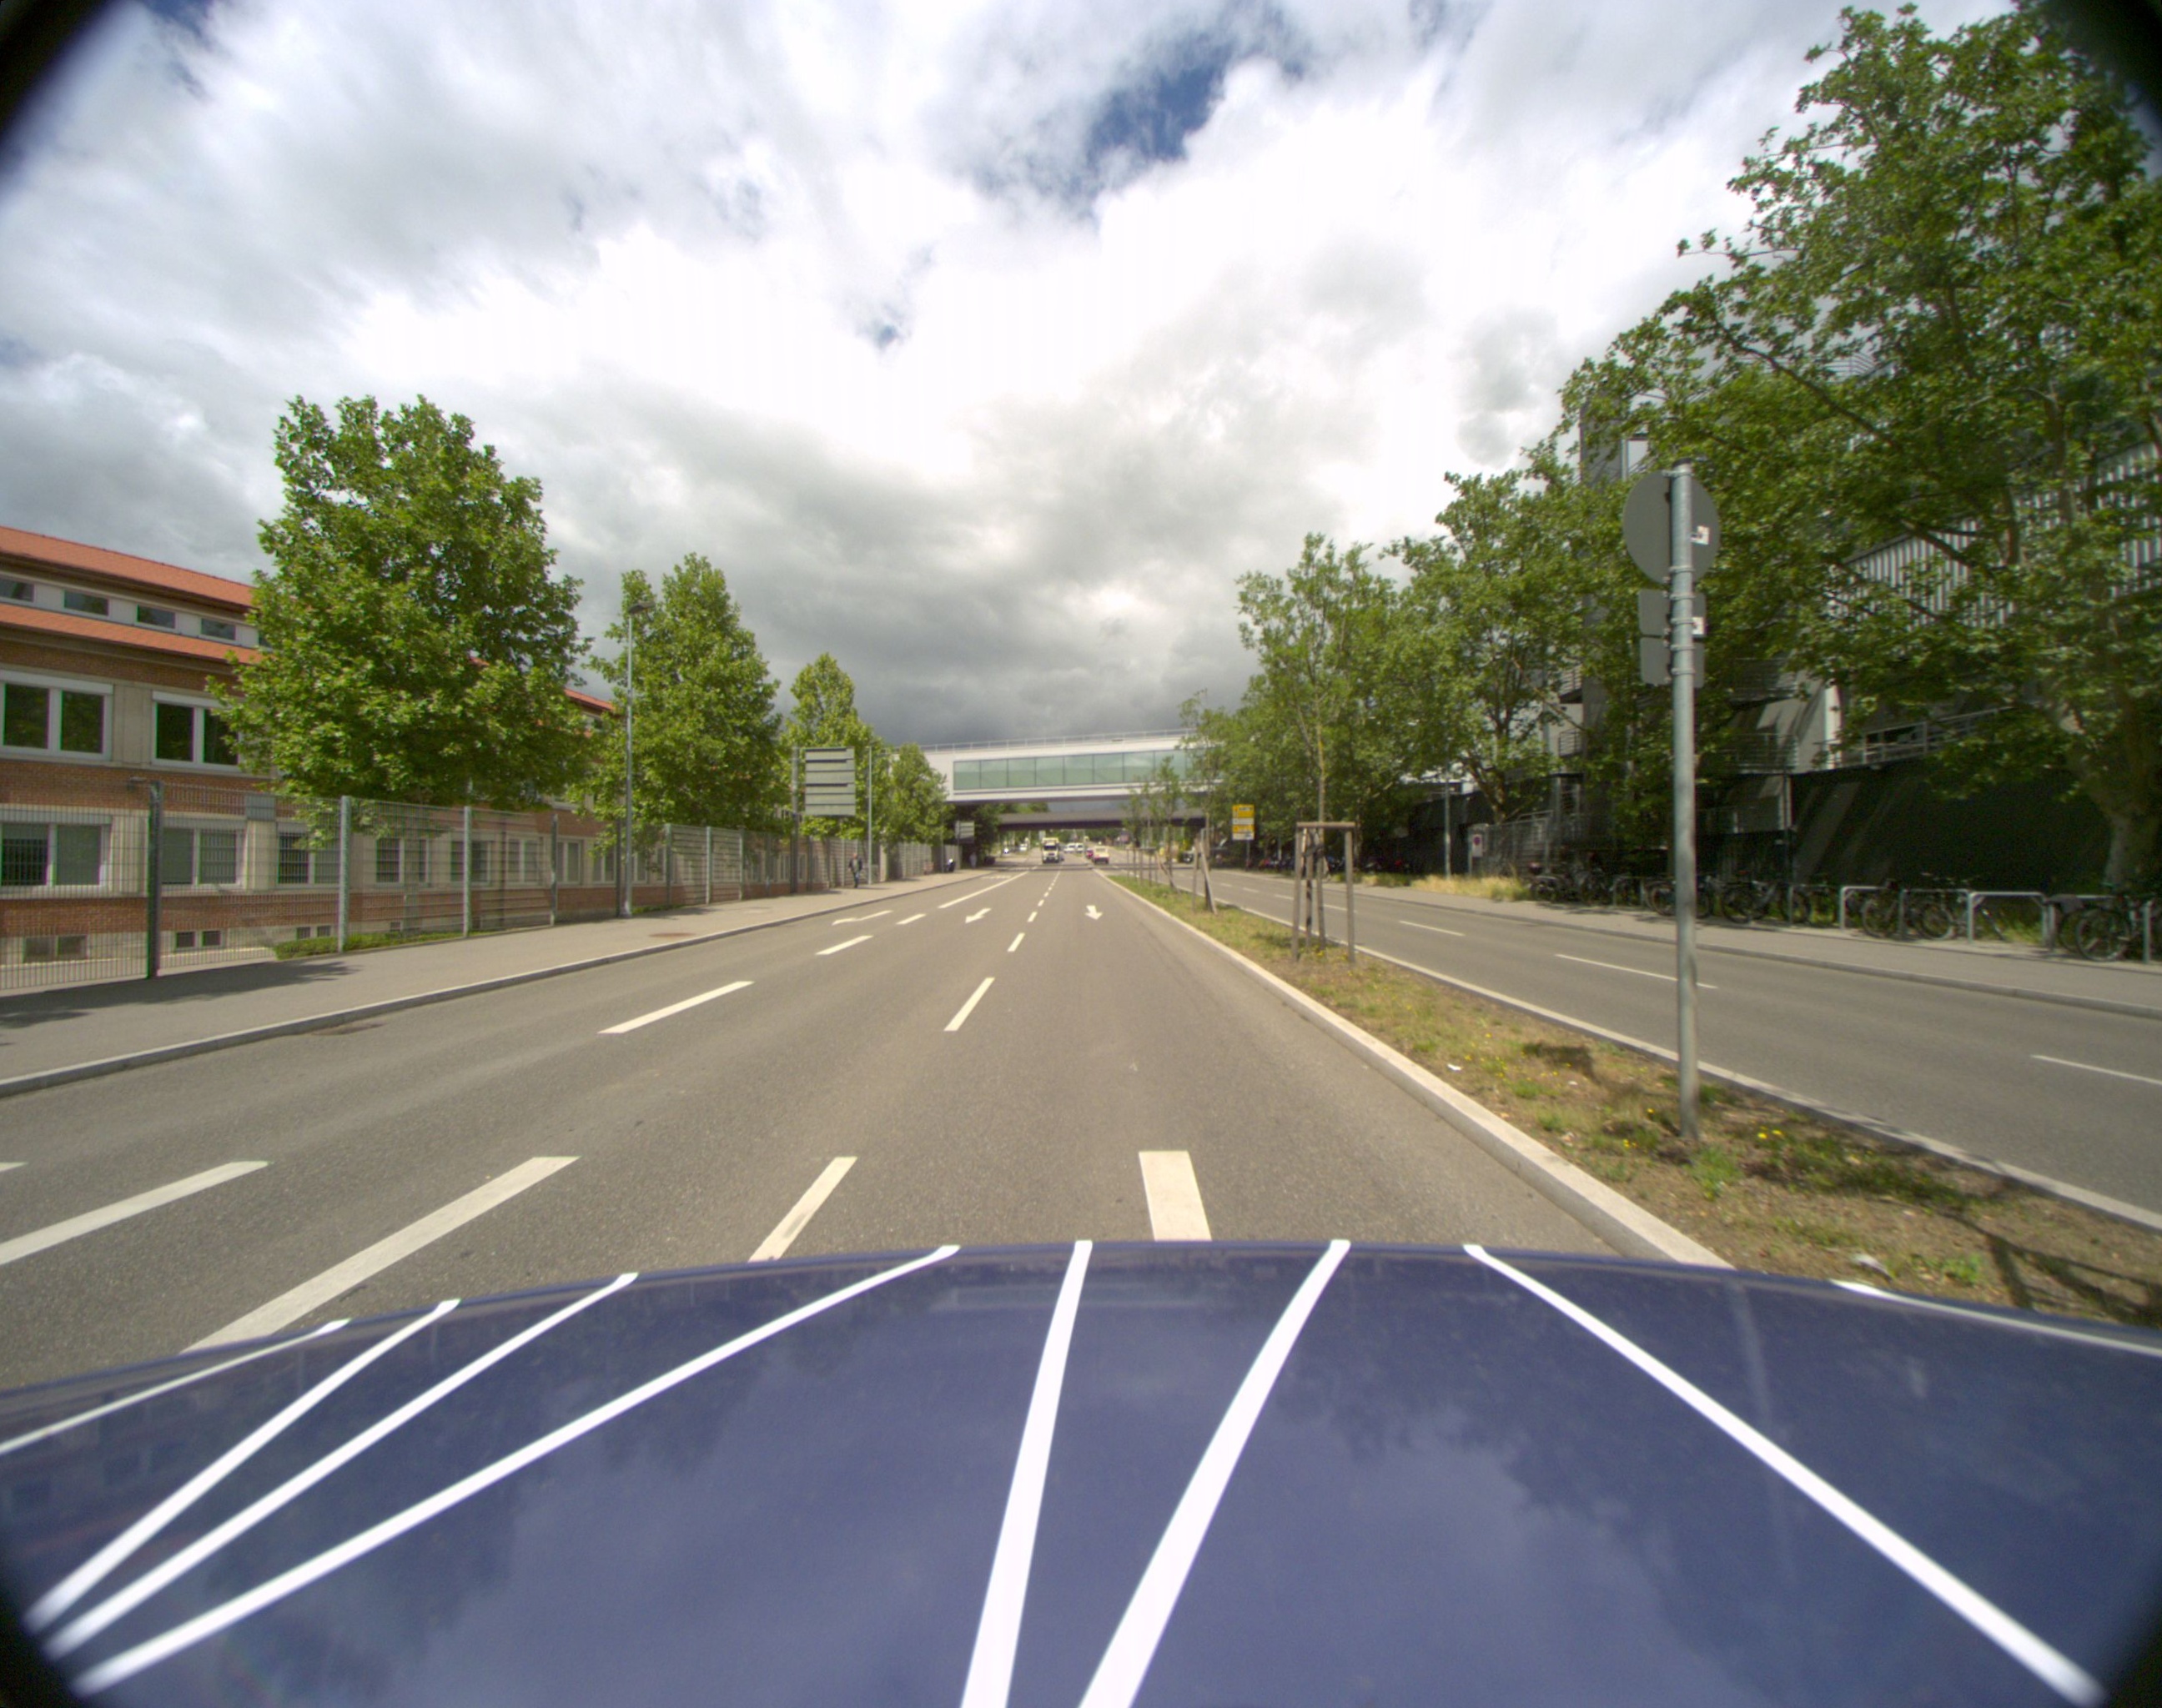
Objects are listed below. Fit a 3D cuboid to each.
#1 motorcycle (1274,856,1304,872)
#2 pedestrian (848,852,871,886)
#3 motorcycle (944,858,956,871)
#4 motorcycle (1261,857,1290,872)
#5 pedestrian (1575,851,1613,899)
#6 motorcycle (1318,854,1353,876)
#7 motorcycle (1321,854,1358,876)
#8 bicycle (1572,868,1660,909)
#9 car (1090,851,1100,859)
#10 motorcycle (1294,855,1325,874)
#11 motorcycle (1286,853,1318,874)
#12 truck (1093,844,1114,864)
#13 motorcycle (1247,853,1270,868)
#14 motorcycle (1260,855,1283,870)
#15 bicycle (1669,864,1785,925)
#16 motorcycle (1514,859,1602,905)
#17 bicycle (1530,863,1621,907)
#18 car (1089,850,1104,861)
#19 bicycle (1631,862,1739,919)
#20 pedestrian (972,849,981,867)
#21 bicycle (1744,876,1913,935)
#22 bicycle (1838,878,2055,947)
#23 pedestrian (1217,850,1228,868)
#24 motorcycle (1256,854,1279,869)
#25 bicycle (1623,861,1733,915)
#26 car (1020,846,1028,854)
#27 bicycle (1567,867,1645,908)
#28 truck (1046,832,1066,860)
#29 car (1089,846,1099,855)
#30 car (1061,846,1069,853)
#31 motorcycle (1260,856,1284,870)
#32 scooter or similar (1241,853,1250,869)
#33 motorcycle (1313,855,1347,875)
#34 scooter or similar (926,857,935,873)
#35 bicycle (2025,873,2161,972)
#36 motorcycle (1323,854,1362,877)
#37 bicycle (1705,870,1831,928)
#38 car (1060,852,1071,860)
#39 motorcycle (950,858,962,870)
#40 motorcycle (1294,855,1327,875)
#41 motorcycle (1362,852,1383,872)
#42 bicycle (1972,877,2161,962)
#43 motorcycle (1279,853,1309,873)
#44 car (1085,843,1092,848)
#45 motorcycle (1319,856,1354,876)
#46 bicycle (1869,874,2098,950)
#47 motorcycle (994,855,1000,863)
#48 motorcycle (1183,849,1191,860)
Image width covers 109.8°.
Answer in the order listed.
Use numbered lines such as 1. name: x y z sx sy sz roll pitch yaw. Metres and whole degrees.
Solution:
1. motorcycle: 15.229 0.742 55.569 1.933 1.109 0.923 -3 -1 27
2. pedestrian: -11.440 0.772 39.287 0.879 1.733 0.940 1 1 -1
3. motorcycle: -11.850 0.938 68.694 0.670 1.058 2.246 2 0 -1
4. motorcycle: 14.656 0.786 57.308 1.939 1.109 0.920 1 1 -12
5. pedestrian: 17.003 0.693 25.211 0.755 1.543 0.821 -1 1 10
6. motorcycle: 15.523 0.665 46.430 1.882 1.202 0.655 -3 -1 3
7. motorcycle: 15.075 0.649 44.269 1.881 1.179 0.730 -3 0 8
8. bicycle: 14.679 0.934 20.869 2.086 1.056 0.497 -1 1 -2
9. car: 2.515 0.160 139.163 1.713 1.445 4.479 -1 0 0
10. motorcycle: 15.092 0.686 50.255 1.880 1.172 0.816 -3 -1 15
11. motorcycle: 15.058 0.644 51.748 1.934 1.336 0.866 -3 -1 20
12. truck: 3.144 -0.068 108.502 2.486 2.735 6.456 -1 0 -3
13. motorcycle: 14.974 0.590 64.222 1.745 1.164 0.777 -3 -1 8
14. motorcycle: 15.226 0.724 60.843 1.595 1.116 0.776 -3 -1 1
15. bicycle: 14.358 0.887 16.908 1.923 1.275 0.806 -1 1 -2
16. motorcycle: 14.244 0.828 22.712 2.139 1.301 0.806 -1 1 -2
17. bicycle: 14.356 0.892 22.081 2.139 1.173 0.806 -1 1 -2
18. car: 2.409 0.204 118.060 1.910 1.621 4.291 -1 0 -4
19. bicycle: 14.204 0.842 17.899 1.923 1.275 0.806 -1 1 -2
20. pedestrian: -11.353 0.445 82.700 0.791 1.877 1.097 0 1 -1
21. bicycle: 14.759 0.991 15.018 2.844 1.000 0.850 -1 1 -9
22. bicycle: 14.726 0.973 13.000 2.569 1.089 0.696 0 1 10
23. pedestrian: 13.105 0.448 70.308 0.769 1.603 0.813 -3 1 -1
24. motorcycle: 15.210 0.588 62.047 1.596 1.116 0.775 -3 -1 -9
25. bicycle: 14.893 0.835 18.997 2.139 1.275 0.806 -1 1 -2
26. car: -16.203 -1.242 215.821 1.999 2.268 3.997 -1 1 -6
27. bicycle: 14.732 0.930 21.338 1.929 1.068 0.422 -1 1 -2
28. truck: -3.710 -1.178 116.598 2.787 3.981 10.085 -1 0 -1
29. car: 2.662 -0.681 154.507 1.813 1.770 4.977 -1 0 -1
30. car: -4.585 -1.397 218.270 1.999 2.002 3.999 -1 0 -1
31. motorcycle: 14.949 0.730 59.470 1.595 1.027 0.776 -3 -1 1
32. scooter or similar: 13.102 0.564 60.524 0.355 1.229 1.479 -2 1 -1
33. motorcycle: 15.626 0.682 47.689 1.882 1.172 0.698 -3 -1 3
34. scooter or similar: -12.220 0.875 61.620 0.492 1.287 1.336 0 1 -1
35. bicycle: 14.355 0.905 10.274 2.410 1.250 0.556 -1 1 2
36. motorcycle: 14.597 0.637 42.455 1.881 1.166 0.746 -3 -1 9
37. bicycle: 14.354 0.934 15.907 1.923 1.116 0.806 -1 1 -2
38. car: -2.620 0.318 128.655 1.675 1.390 3.999 -1 0 -1
39. motorcycle: -11.798 0.967 71.949 0.709 1.058 2.510 2 0 -1
40. motorcycle: 14.815 0.734 49.035 1.881 1.172 0.815 -3 -1 9
41. motorcycle: 18.552 0.511 48.369 0.654 1.202 1.984 -3 -1 4
42. bicycle: 14.987 0.953 11.168 2.569 1.151 0.726 -1 1 10
43. motorcycle: 15.166 0.635 54.172 1.934 1.283 0.894 -3 -1 20
44. car: 2.061 -2.416 206.979 1.998 1.346 4.000 0 1 1
45. motorcycle: 15.263 0.709 45.410 1.880 1.078 0.795 -3 -1 15
46. bicycle: 14.546 0.928 12.311 2.569 1.151 0.644 -1 1 10
47. motorcycle: -11.842 0.736 107.120 0.679 1.076 2.180 0 1 -2
48. motorcycle: 12.767 0.073 91.604 0.641 1.191 2.257 -3 1 -1
